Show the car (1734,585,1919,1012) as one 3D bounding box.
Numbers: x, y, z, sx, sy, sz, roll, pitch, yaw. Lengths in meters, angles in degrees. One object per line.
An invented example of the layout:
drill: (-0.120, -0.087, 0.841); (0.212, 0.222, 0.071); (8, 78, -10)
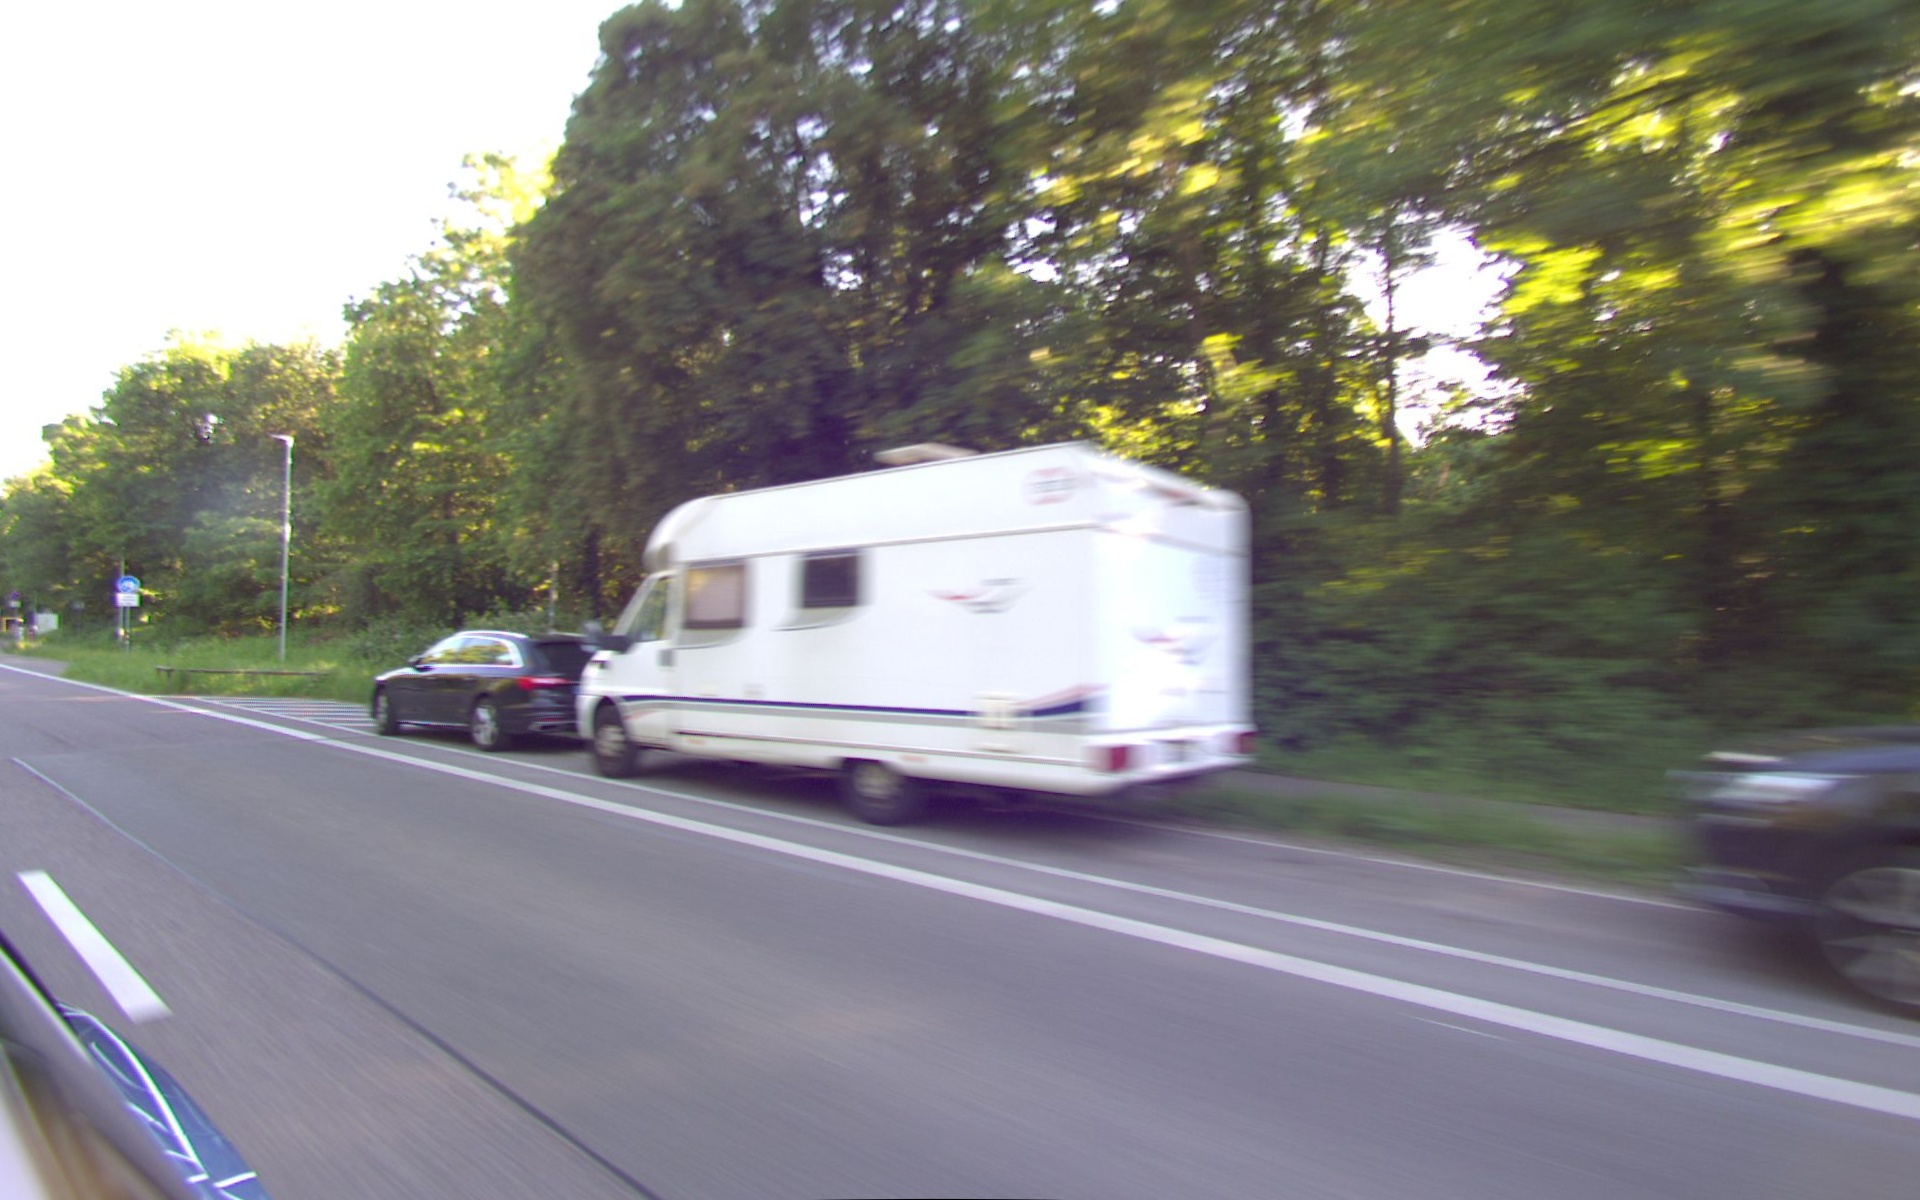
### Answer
car: (5.429, 0.774, 3.491); (4.271, 1.644, 1.628); (-1, -4, 41)

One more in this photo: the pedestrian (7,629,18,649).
pedestrian: (-80.642, 3.294, 86.150); (0.667, 1.666, 0.790); (1, -2, -45)

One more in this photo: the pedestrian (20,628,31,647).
pedestrian: (-80.030, 3.202, 86.666); (0.667, 1.666, 0.790); (1, -2, -45)

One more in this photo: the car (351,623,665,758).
car: (-6.100, 1.079, 13.411); (4.675, 1.487, 1.809); (-1, -3, 38)

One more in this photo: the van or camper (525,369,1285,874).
van or camper: (-0.967, 0.229, 9.126); (7.103, 2.993, 2.292); (-1, -4, 39)
